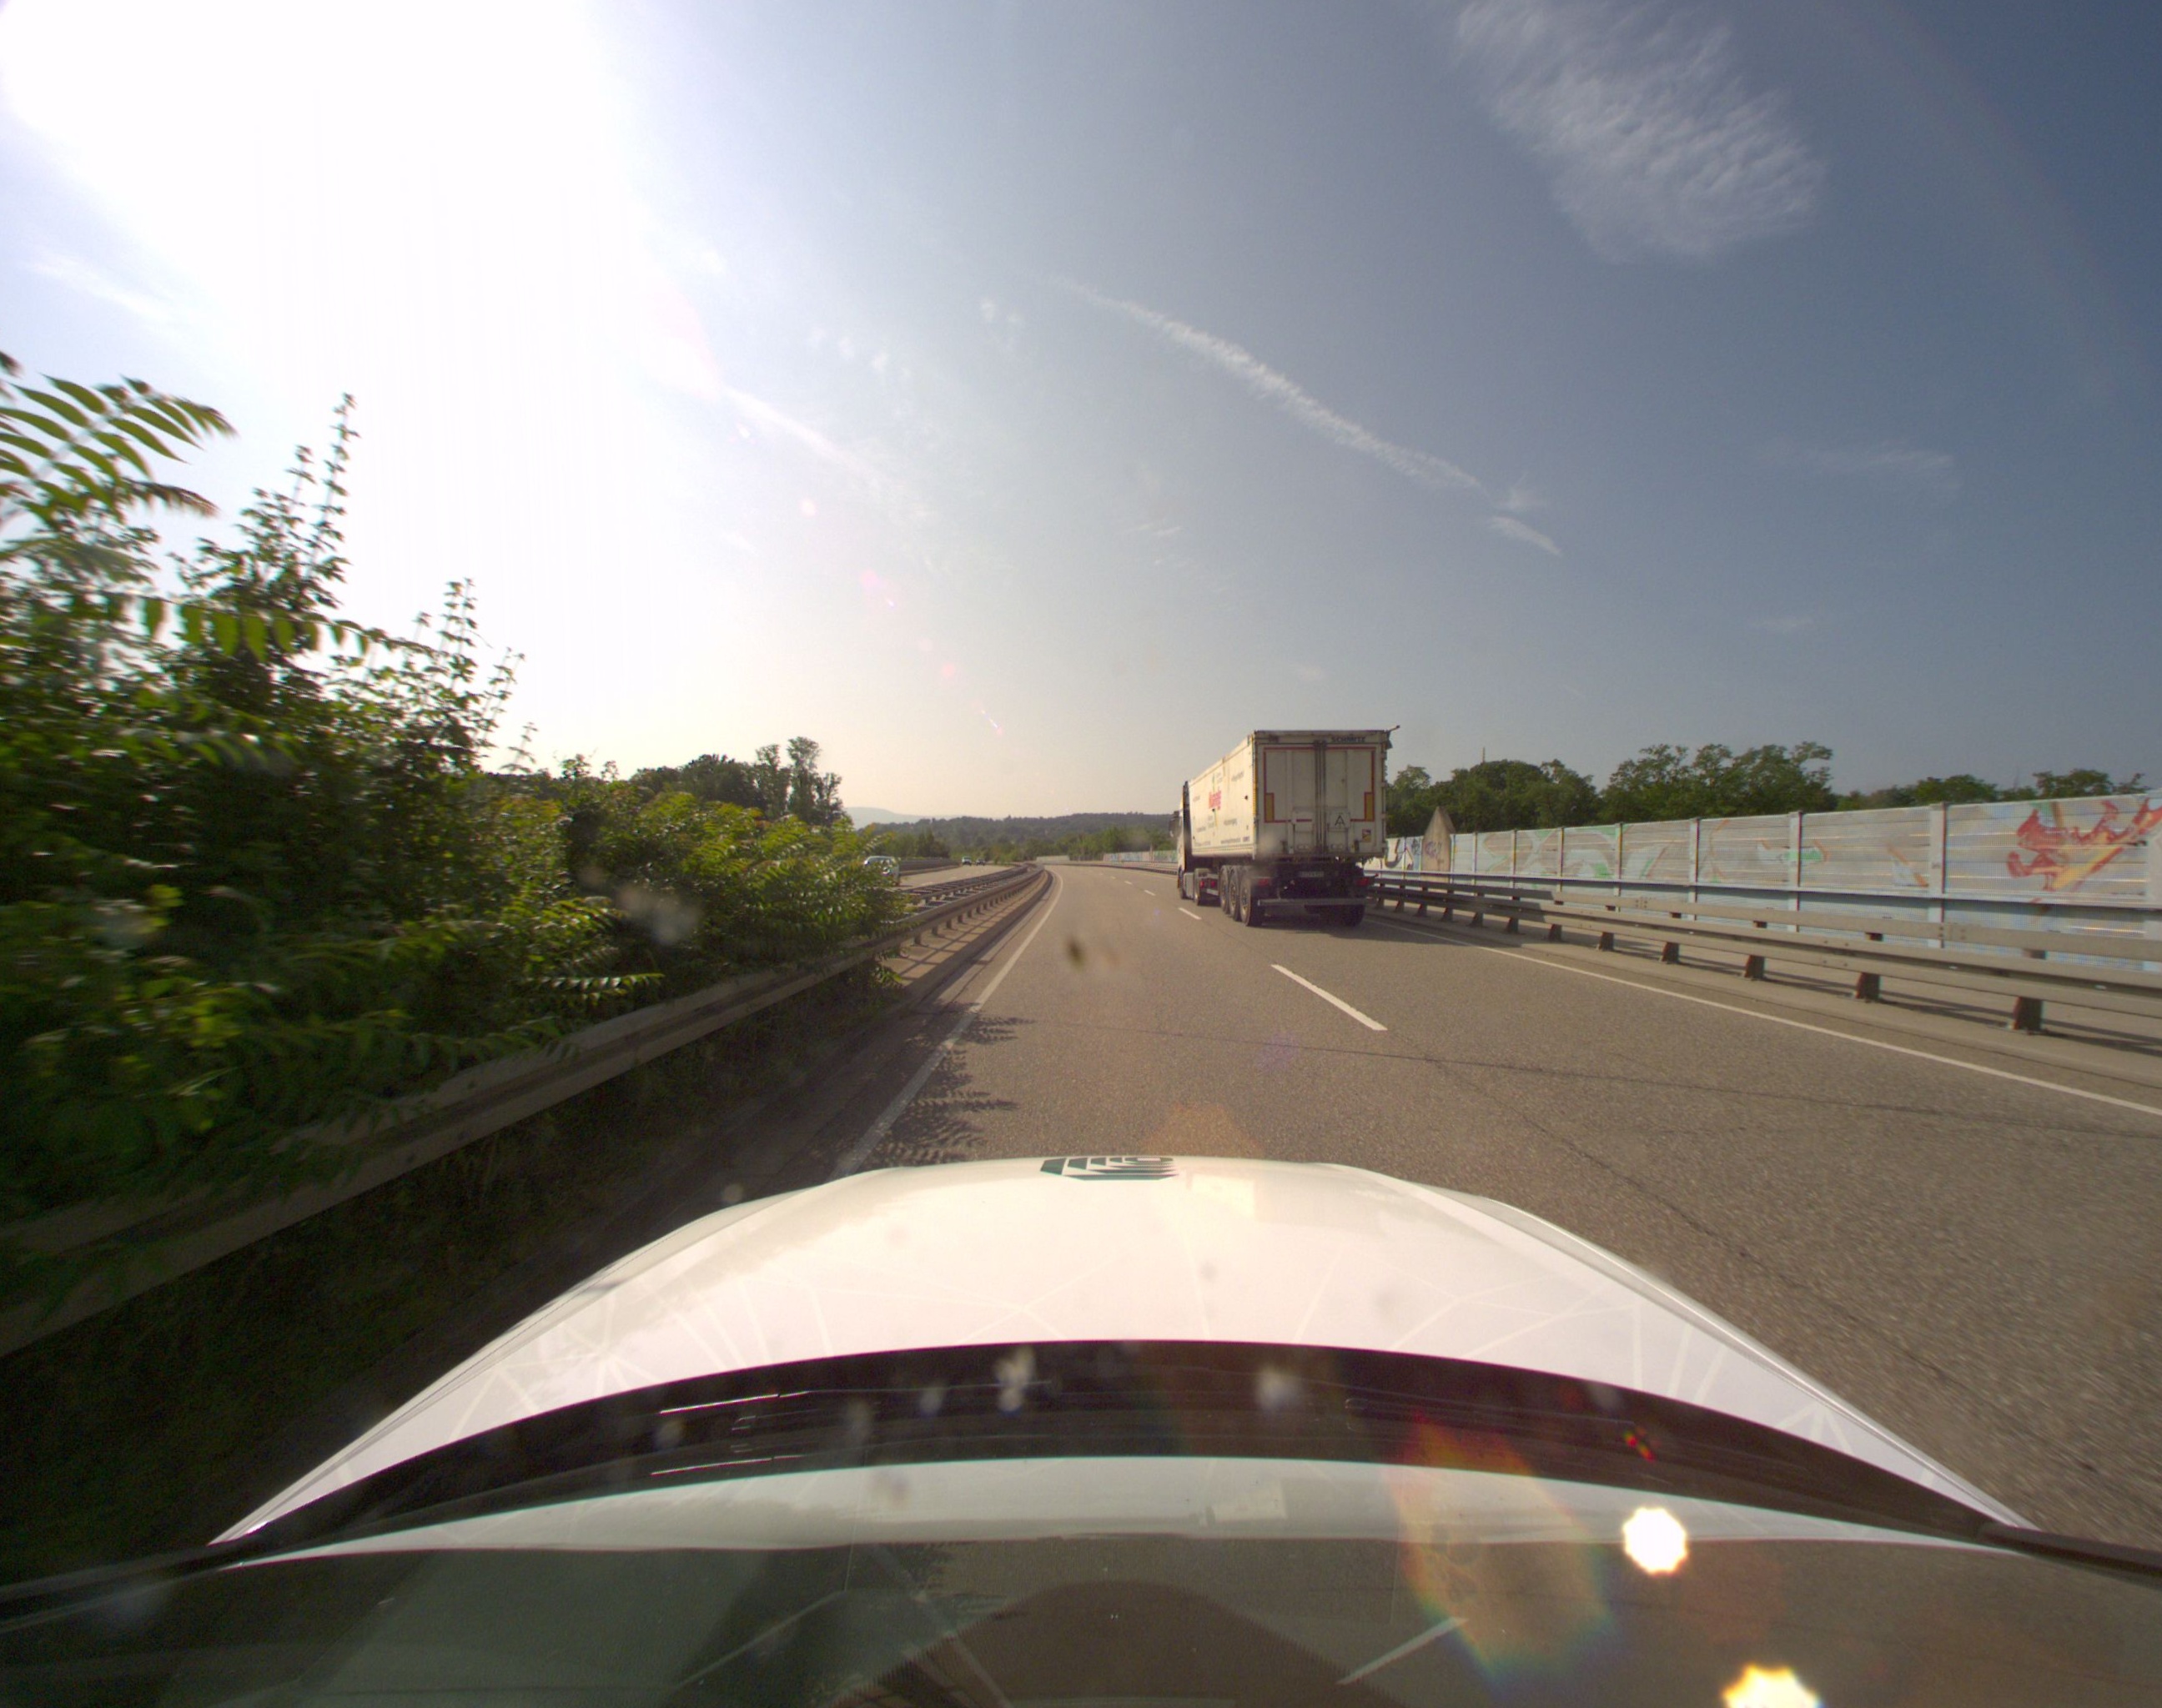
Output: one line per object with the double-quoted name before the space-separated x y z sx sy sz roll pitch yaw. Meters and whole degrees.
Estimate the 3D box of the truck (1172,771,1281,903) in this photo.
"truck" 4.625 -0.529 26.967 2.650 3.896 5.648 0 0 0

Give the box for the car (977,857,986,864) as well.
"car" -22.692 1.461 186.252 1.862 1.607 4.410 1 0 -5

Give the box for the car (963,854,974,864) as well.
"car" -24.173 1.058 175.249 2.035 2.006 5.298 1 0 -5

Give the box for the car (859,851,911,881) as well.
"car" -10.304 0.622 43.105 1.642 1.502 4.001 1 0 1

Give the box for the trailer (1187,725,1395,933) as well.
"trailer" 4.605 -0.498 20.209 2.671 3.907 9.671 0 0 0
